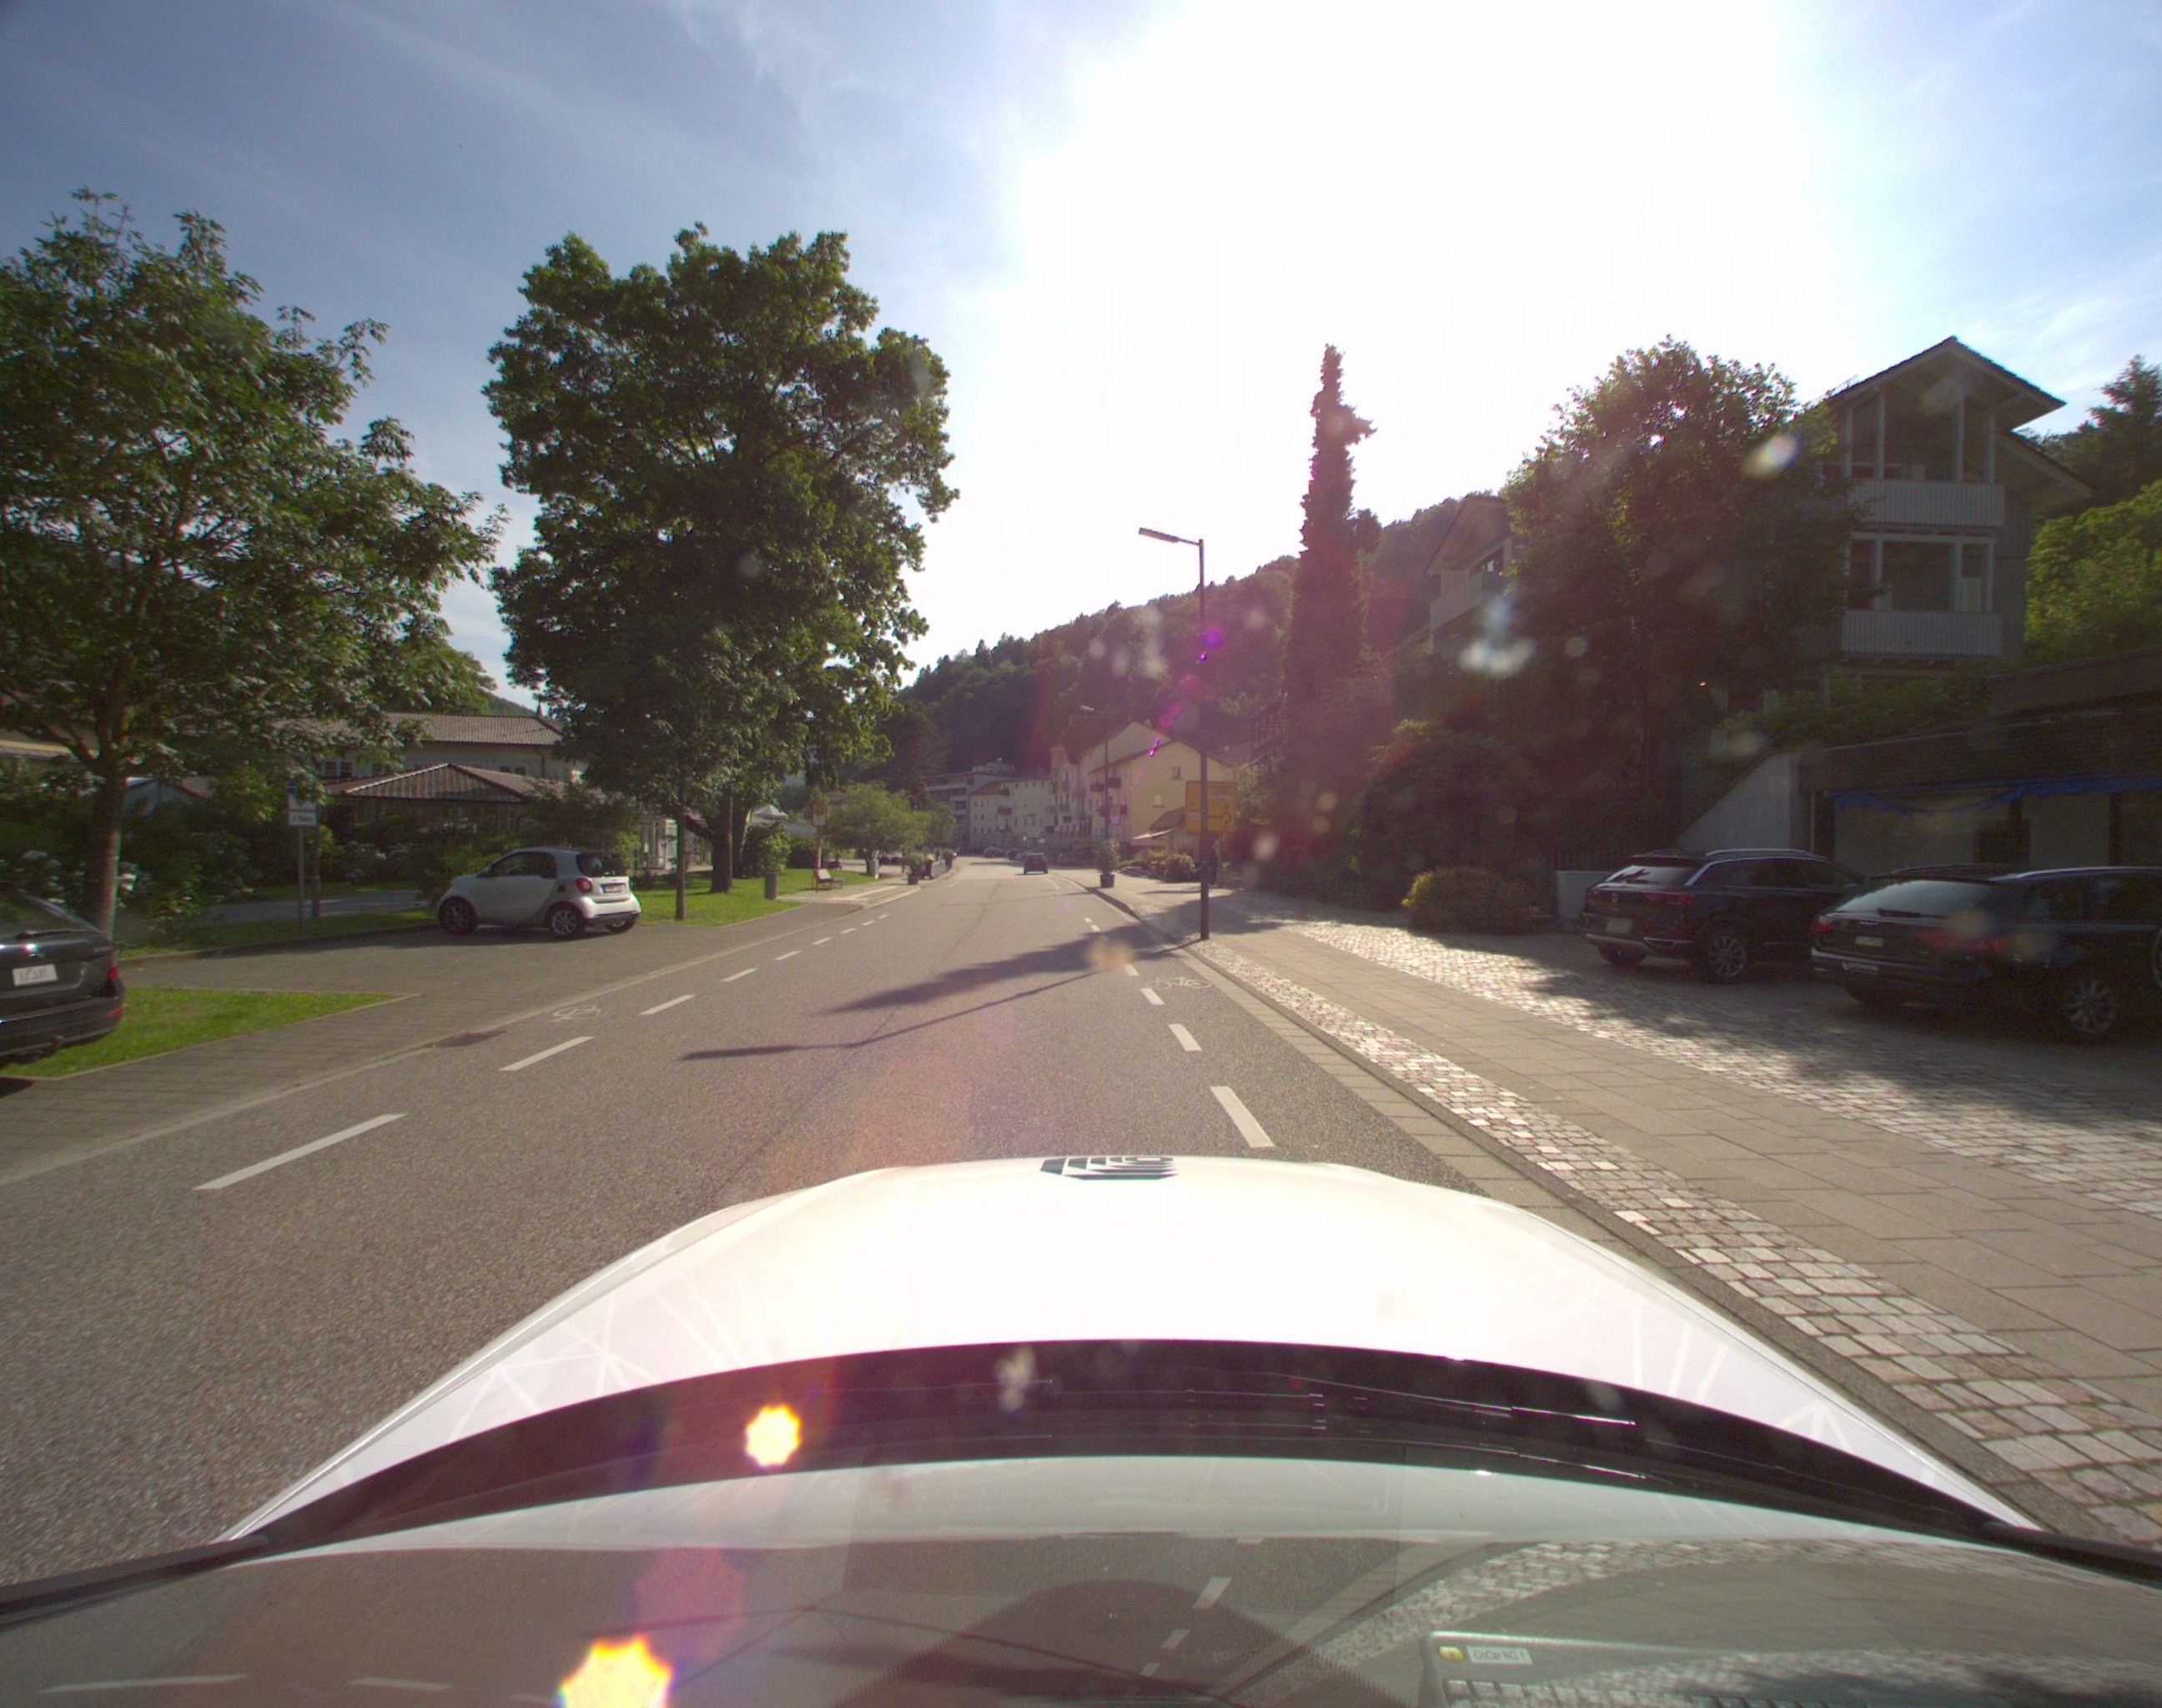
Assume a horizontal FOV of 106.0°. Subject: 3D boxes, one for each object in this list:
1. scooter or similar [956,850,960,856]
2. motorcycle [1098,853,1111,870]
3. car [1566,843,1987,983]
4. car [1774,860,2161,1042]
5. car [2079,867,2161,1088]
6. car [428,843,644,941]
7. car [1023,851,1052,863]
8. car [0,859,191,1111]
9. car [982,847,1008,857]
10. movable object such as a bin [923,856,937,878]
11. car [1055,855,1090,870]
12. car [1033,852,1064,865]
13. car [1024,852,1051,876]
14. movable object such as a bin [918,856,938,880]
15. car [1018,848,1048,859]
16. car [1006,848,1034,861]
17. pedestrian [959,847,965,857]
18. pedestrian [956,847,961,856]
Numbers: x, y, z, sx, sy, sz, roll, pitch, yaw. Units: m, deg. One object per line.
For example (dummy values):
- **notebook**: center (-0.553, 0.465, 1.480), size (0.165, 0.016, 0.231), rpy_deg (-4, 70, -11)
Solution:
- **scooter or similar**: center (-22.820, -0.194, 151.519), size (0.600, 0.950, 0.469), rpy_deg (1, 0, -36)
- **motorcycle**: center (1.846, 0.609, 64.078), size (0.696, 1.296, 2.207), rpy_deg (-2, 0, -7)
- **car**: center (8.488, 0.663, 10.183), size (3.865, 1.580, 1.747), rpy_deg (0, 0, -2)
- **car**: center (9.030, 0.772, 7.387), size (4.098, 1.415, 1.747), rpy_deg (0, 0, -2)
- **car**: center (8.906, 0.775, 4.742), size (4.251, 1.379, 1.708), rpy_deg (0, 0, -2)
- **car**: center (-9.615, 0.641, 14.522), size (2.640, 1.547, 1.683), rpy_deg (2, 0, 3)
- **car**: center (-6.299, 0.484, 117.100), size (3.913, 1.461, 1.728), rpy_deg (3, 0, -13)
- **car**: center (-8.506, 0.717, 4.740), size (4.274, 1.432, 1.708), rpy_deg (2, 0, -9)
- **car**: center (-14.551, -0.344, 138.155), size (4.005, 1.662, 1.984), rpy_deg (-1, 1, -24)
- **movable object such as a bin**: center (-9.711, 0.844, 52.407), size (0.754, 1.341, 1.292), rpy_deg (2, 0, -6)
- **car**: center (-1.010, 1.016, 98.348), size (3.867, 1.554, 1.751), rpy_deg (3, 0, -16)
- **car**: center (-4.500, 0.584, 111.831), size (3.914, 1.589, 1.767), rpy_deg (3, 0, -13)
- **car**: center (-3.304, 0.713, 61.036), size (1.725, 1.574, 3.745), rpy_deg (2, 2, -7)
- **movable object such as a bin**: center (-9.477, 0.849, 50.460), size (1.077, 1.427, 1.374), rpy_deg (2, 0, -6)
- **car**: center (-7.252, -0.066, 123.475), size (4.358, 1.461, 1.766), rpy_deg (2, -1, -11)
- **car**: center (-9.654, 0.068, 127.969), size (4.088, 1.666, 1.765), rpy_deg (4, 0, -13)
- **pedestrian**: center (-22.274, -0.359, 152.395), size (0.674, 1.728, 0.700), rpy_deg (1, 0, -36)
- **pedestrian**: center (-22.732, -0.520, 151.415), size (0.763, 1.594, 0.621), rpy_deg (1, 0, -36)
